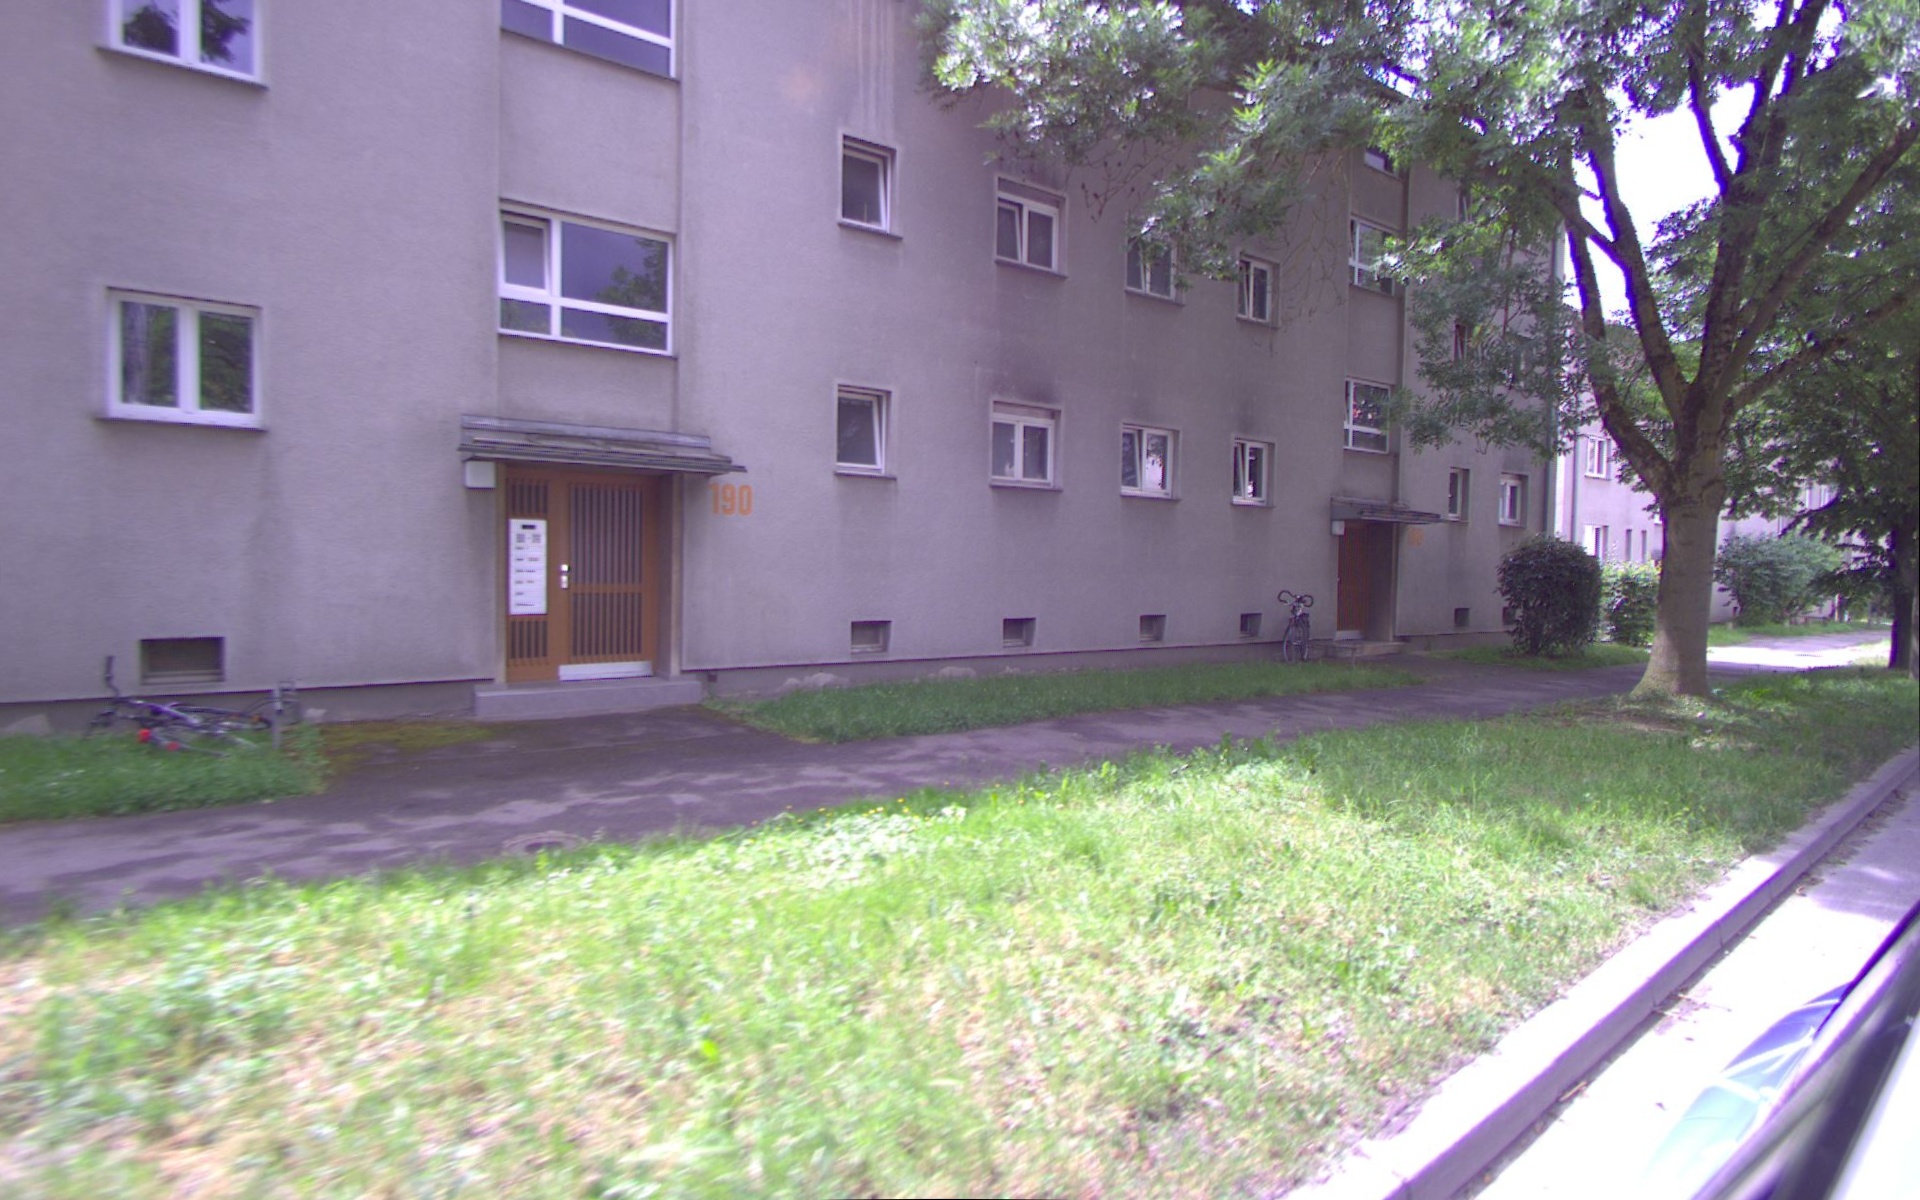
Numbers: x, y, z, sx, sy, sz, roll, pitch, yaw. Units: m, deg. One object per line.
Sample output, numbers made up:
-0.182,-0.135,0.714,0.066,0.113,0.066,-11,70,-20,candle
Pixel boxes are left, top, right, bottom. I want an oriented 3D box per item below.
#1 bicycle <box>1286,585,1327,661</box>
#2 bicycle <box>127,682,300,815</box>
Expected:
5.305,0.324,15.548,0.430,1.094,1.747,0,1,14,bicycle
-4.880,0.916,6.743,0.660,0.514,2.214,-1,1,-30,bicycle
